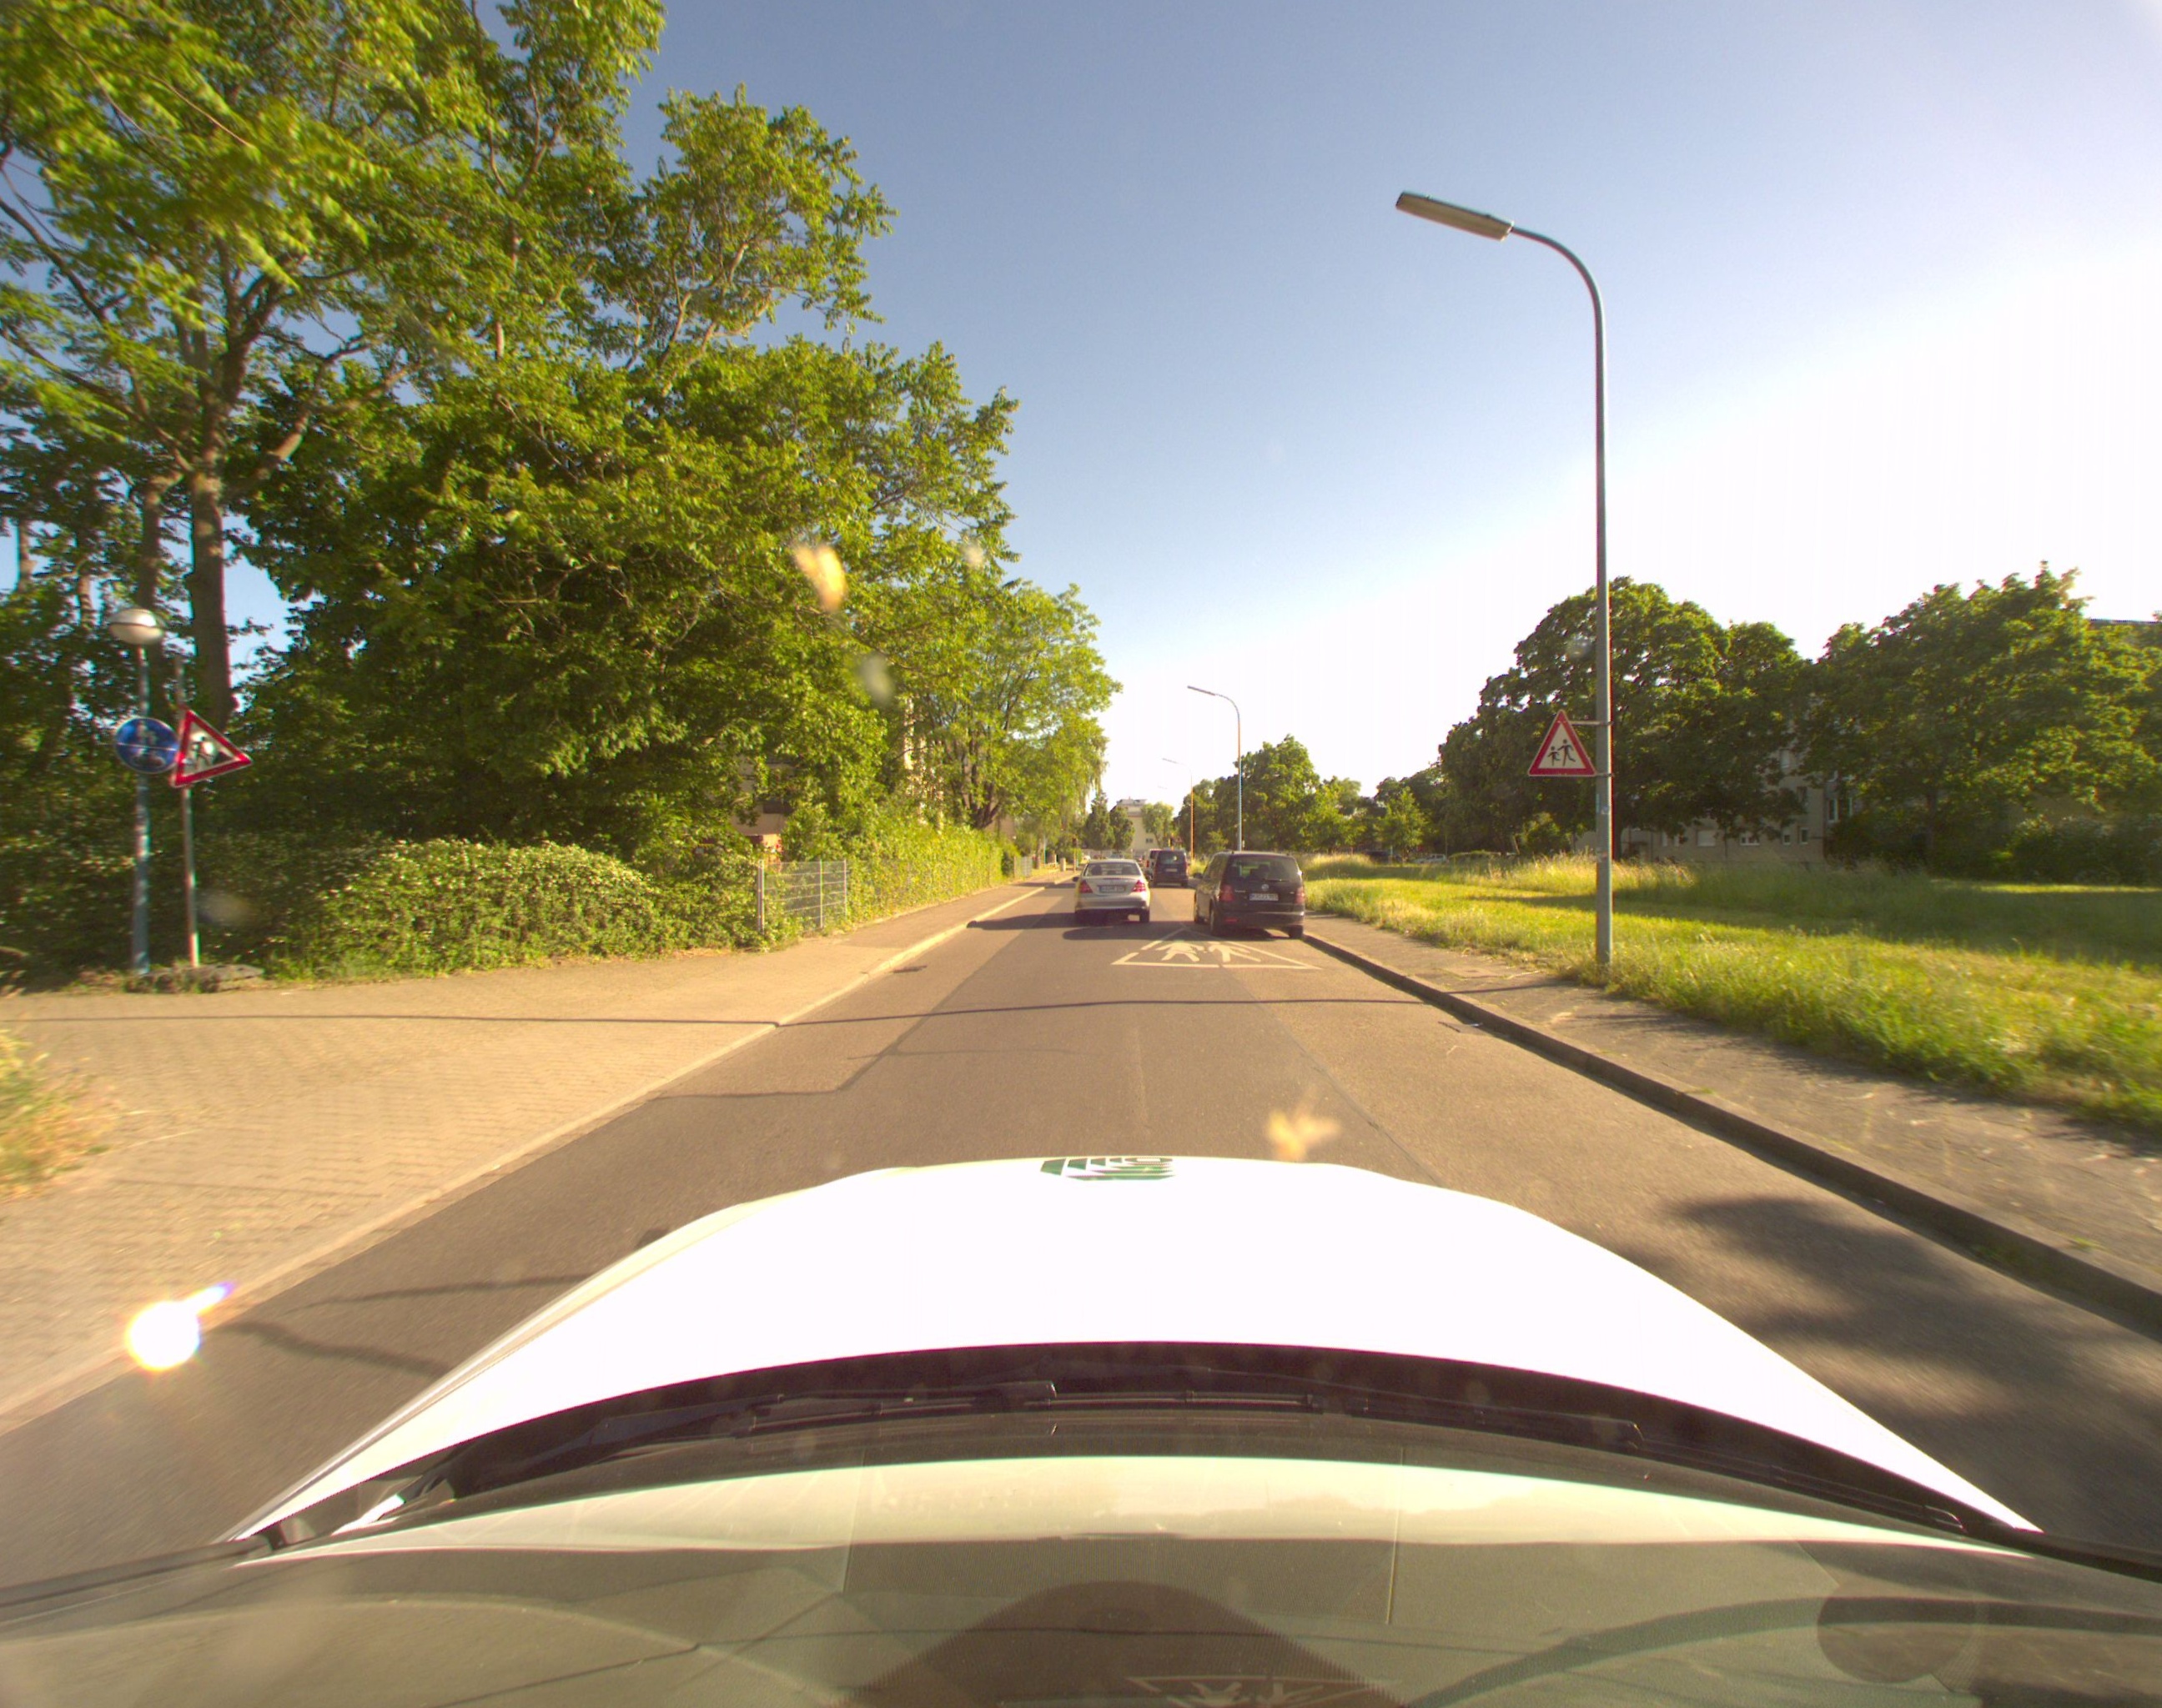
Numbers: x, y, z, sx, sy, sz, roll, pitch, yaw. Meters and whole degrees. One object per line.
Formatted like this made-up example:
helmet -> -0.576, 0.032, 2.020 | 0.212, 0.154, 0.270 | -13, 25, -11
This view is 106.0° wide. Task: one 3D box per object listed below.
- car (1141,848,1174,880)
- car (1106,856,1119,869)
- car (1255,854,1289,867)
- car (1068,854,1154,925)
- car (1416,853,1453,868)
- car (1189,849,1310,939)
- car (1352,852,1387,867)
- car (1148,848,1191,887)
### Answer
car -> 4.587, 0.568, 49.103 | 1.692, 1.851, 3.852 | 2, 0, 2
car -> 4.809, 1.309, 123.975 | 1.878, 1.728, 4.001 | 0, -2, 2
car -> 22.089, 0.753, 94.282 | 3.674, 1.471, 1.707 | -1, -2, 17
car -> 0.756, 0.755, 19.553 | 1.809, 1.463, 4.364 | -1, 0, 3
car -> 41.810, 0.780, 96.311 | 3.679, 1.618, 1.704 | -1, -2, 11
car -> 3.323, 0.717, 16.736 | 1.692, 1.610, 4.000 | 1, 0, 1
car -> 32.487, 0.634, 91.858 | 3.674, 1.618, 1.707 | -1, -2, 17
car -> 4.166, 0.605, 38.880 | 1.692, 1.759, 3.852 | 2, 0, 2
